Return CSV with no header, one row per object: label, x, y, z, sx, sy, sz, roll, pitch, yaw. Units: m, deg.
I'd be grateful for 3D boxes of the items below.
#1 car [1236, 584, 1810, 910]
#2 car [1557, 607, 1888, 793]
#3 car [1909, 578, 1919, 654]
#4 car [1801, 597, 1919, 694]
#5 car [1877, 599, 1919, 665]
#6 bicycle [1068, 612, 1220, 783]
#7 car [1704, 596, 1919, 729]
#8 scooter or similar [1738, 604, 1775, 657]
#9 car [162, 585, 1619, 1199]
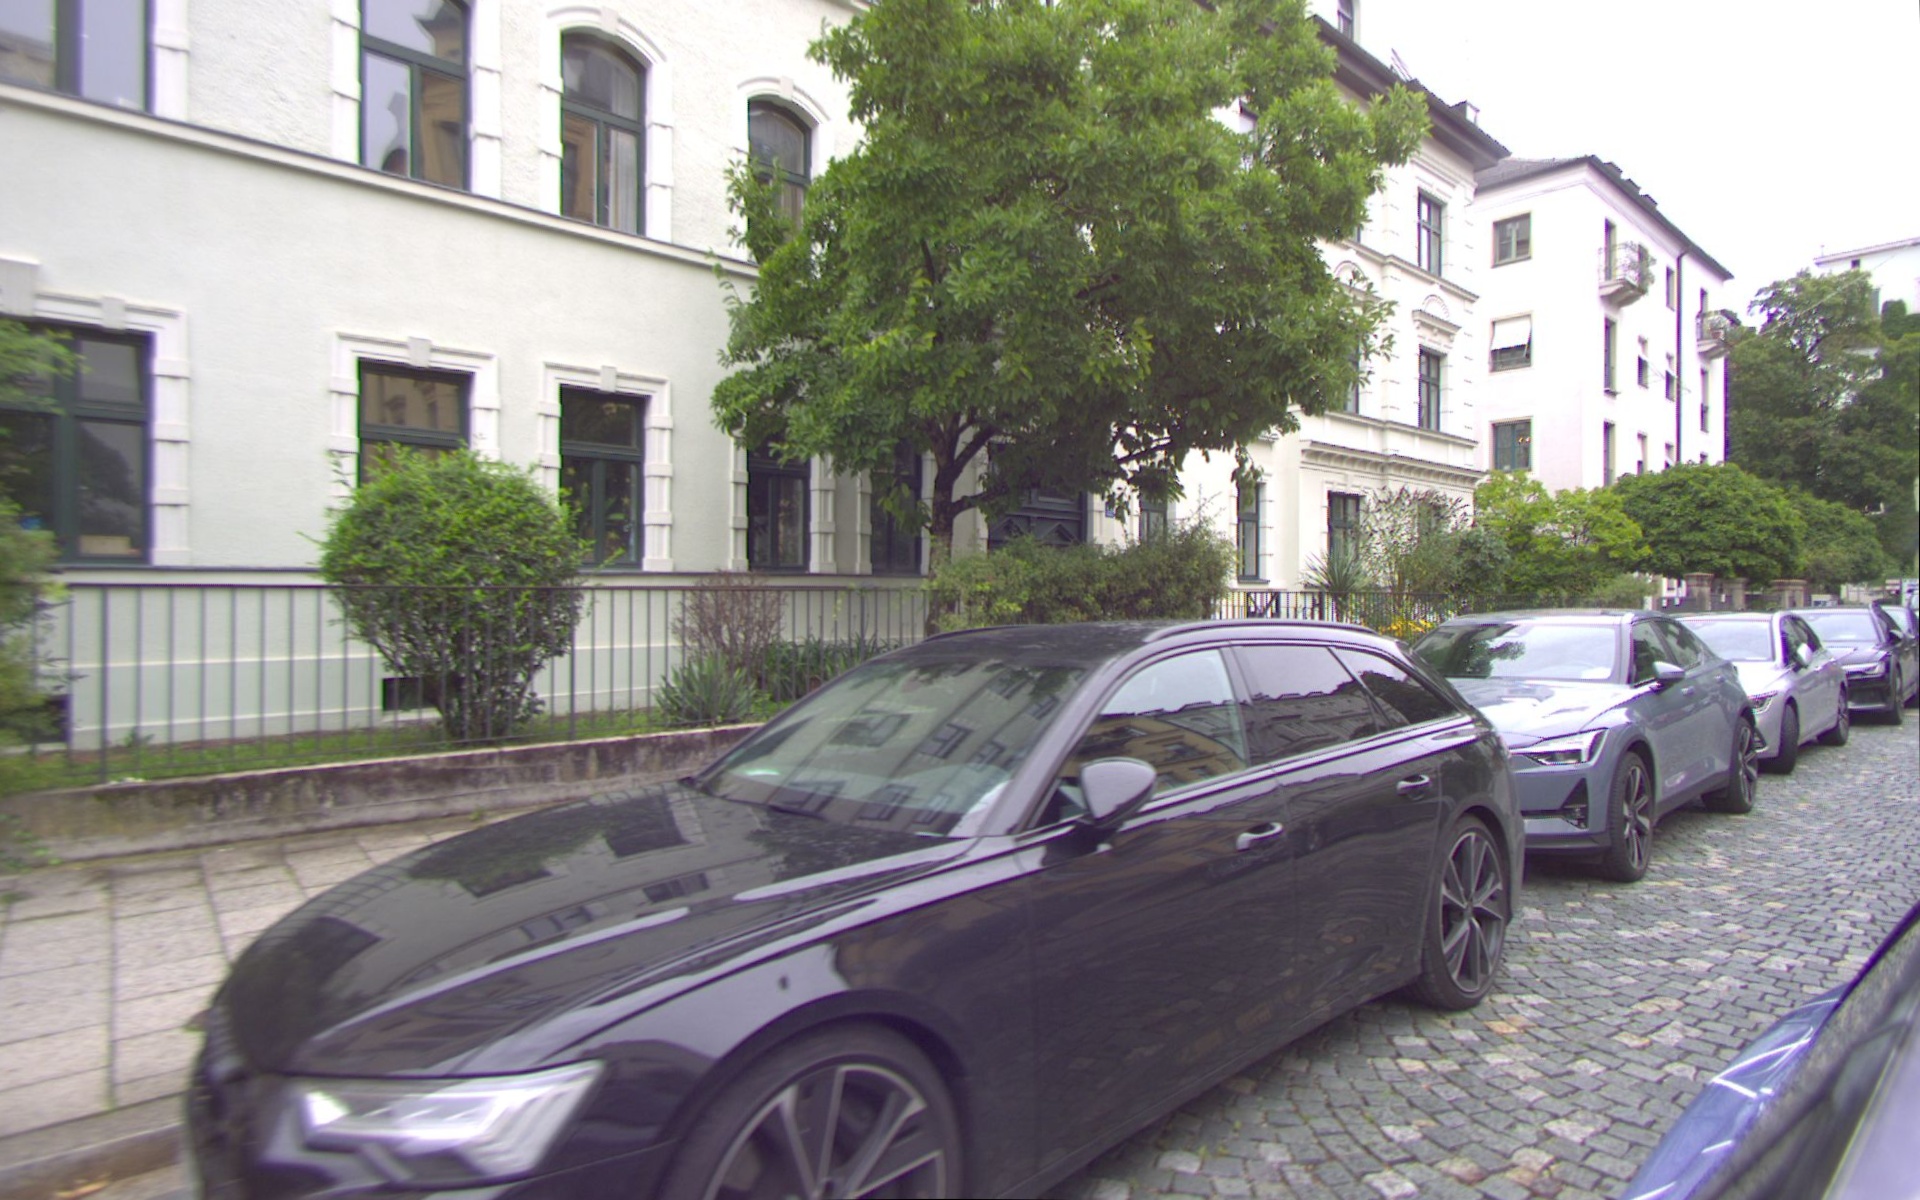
car,4.100,0.702,6.972,4.729,1.508,1.885,0,-2,-40
car,7.957,0.862,10.400,4.401,1.478,1.758,0,-2,-40
car,27.575,0.375,27.633,4.882,1.995,1.996,-1,-2,-43
car,16.016,0.730,17.515,3.622,1.528,1.669,0,-2,-41
car,23.482,0.705,23.948,4.450,1.484,1.941,0,-1,-39
bicycle,1.513,0.713,8.120,0.578,1.210,1.627,-1,0,35
car,12.193,0.742,14.006,5.015,1.522,1.907,0,-2,-40
scooter or similar,19.949,0.754,25.335,1.447,1.230,0.443,-1,6,-44
car,0.394,0.761,3.541,4.960,1.508,1.821,0,-2,-40
